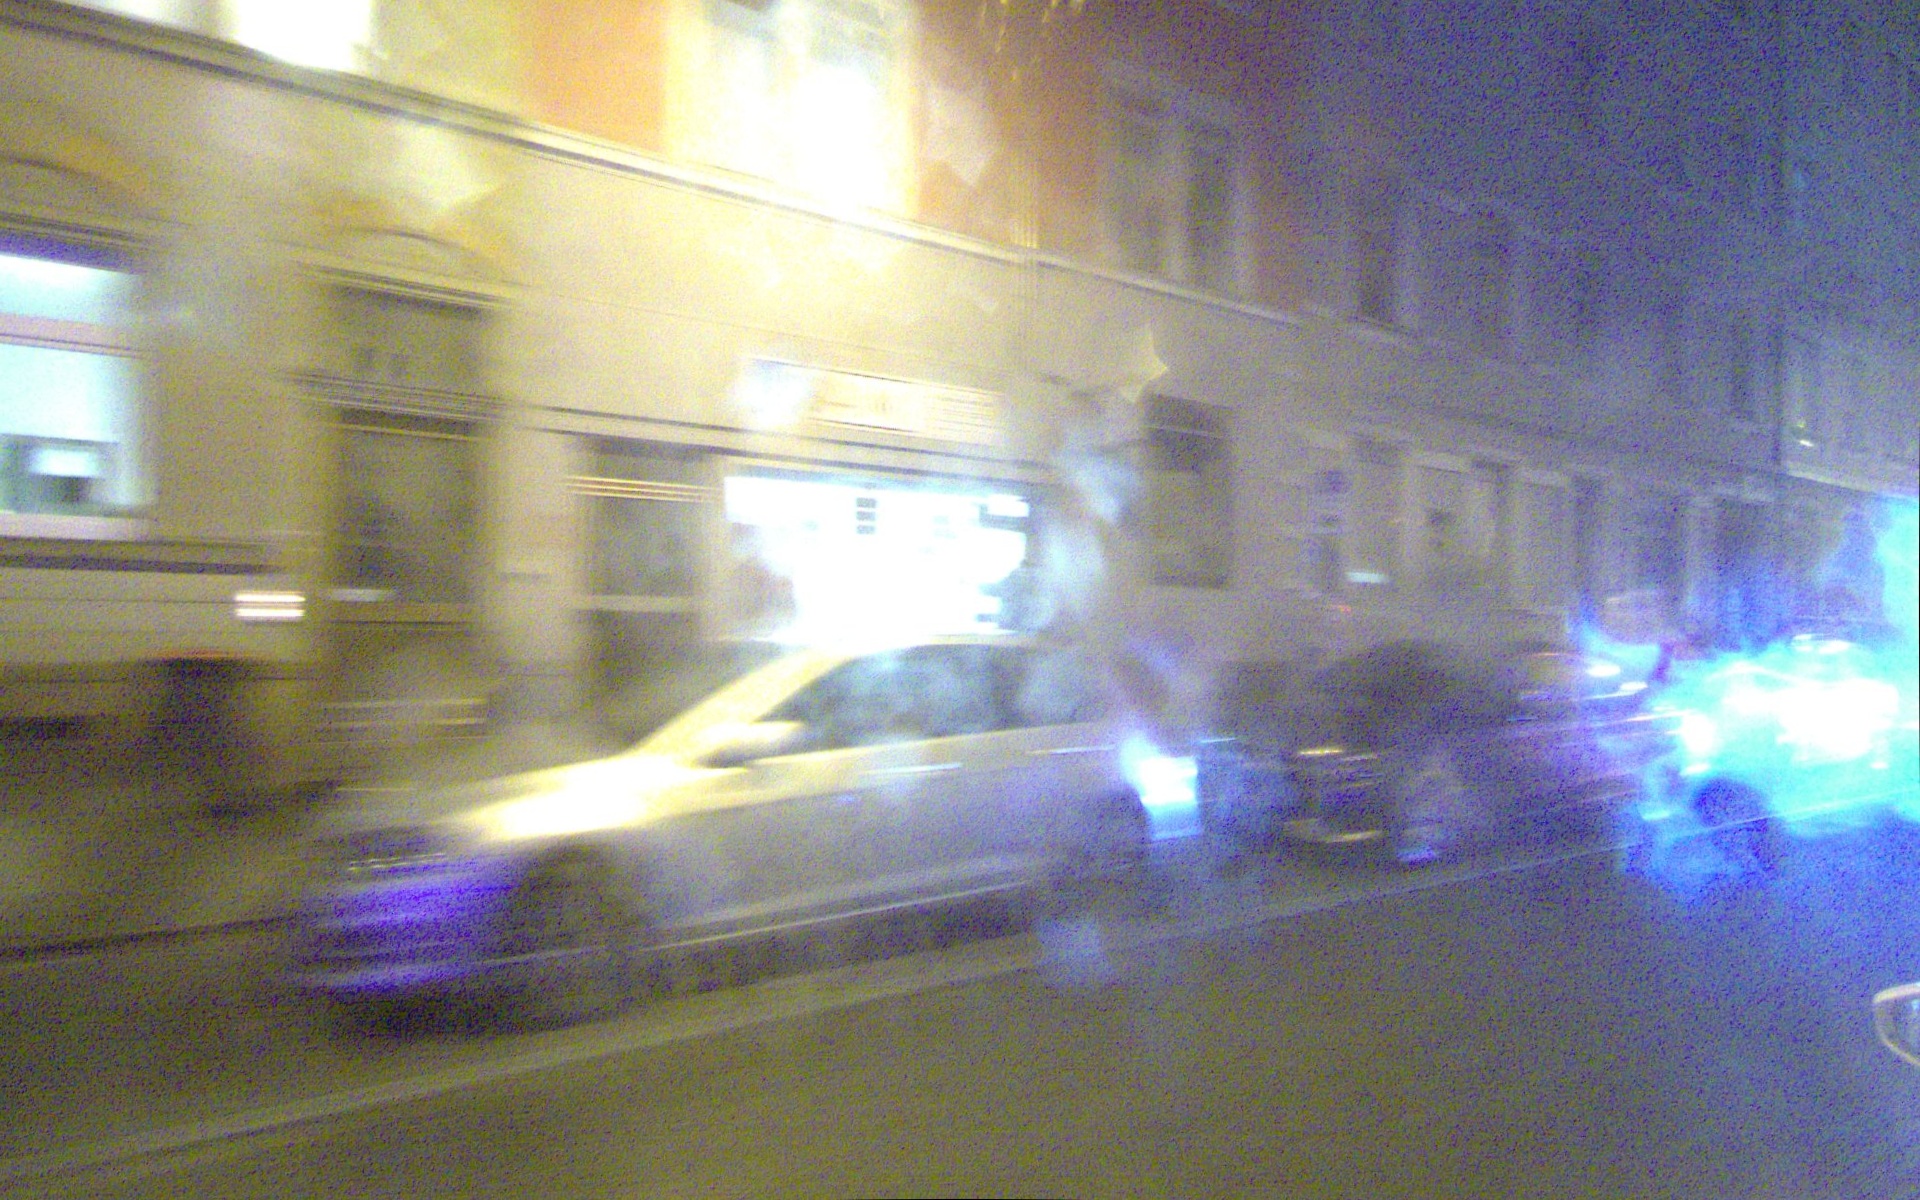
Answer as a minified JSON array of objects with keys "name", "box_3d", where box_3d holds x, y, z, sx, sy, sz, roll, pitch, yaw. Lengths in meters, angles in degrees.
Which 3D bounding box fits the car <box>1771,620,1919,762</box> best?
[{"name":"car","box_3d":[12.259,1.096,12.865,3.722,1.609,1.737,2,-1,-30]}]

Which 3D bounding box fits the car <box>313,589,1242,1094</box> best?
[{"name":"car","box_3d":[-0.713,0.831,4.998,4.086,1.593,1.766,2,-2,-31]}]

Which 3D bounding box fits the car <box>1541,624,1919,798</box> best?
[{"name":"car","box_3d":[8.268,1.036,10.641,4.256,1.500,1.824,2,-1,-31]}]

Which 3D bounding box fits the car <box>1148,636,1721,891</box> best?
[{"name":"car","box_3d":[3.707,1.014,7.635,4.374,1.408,1.813,2,-1,-31]}]
